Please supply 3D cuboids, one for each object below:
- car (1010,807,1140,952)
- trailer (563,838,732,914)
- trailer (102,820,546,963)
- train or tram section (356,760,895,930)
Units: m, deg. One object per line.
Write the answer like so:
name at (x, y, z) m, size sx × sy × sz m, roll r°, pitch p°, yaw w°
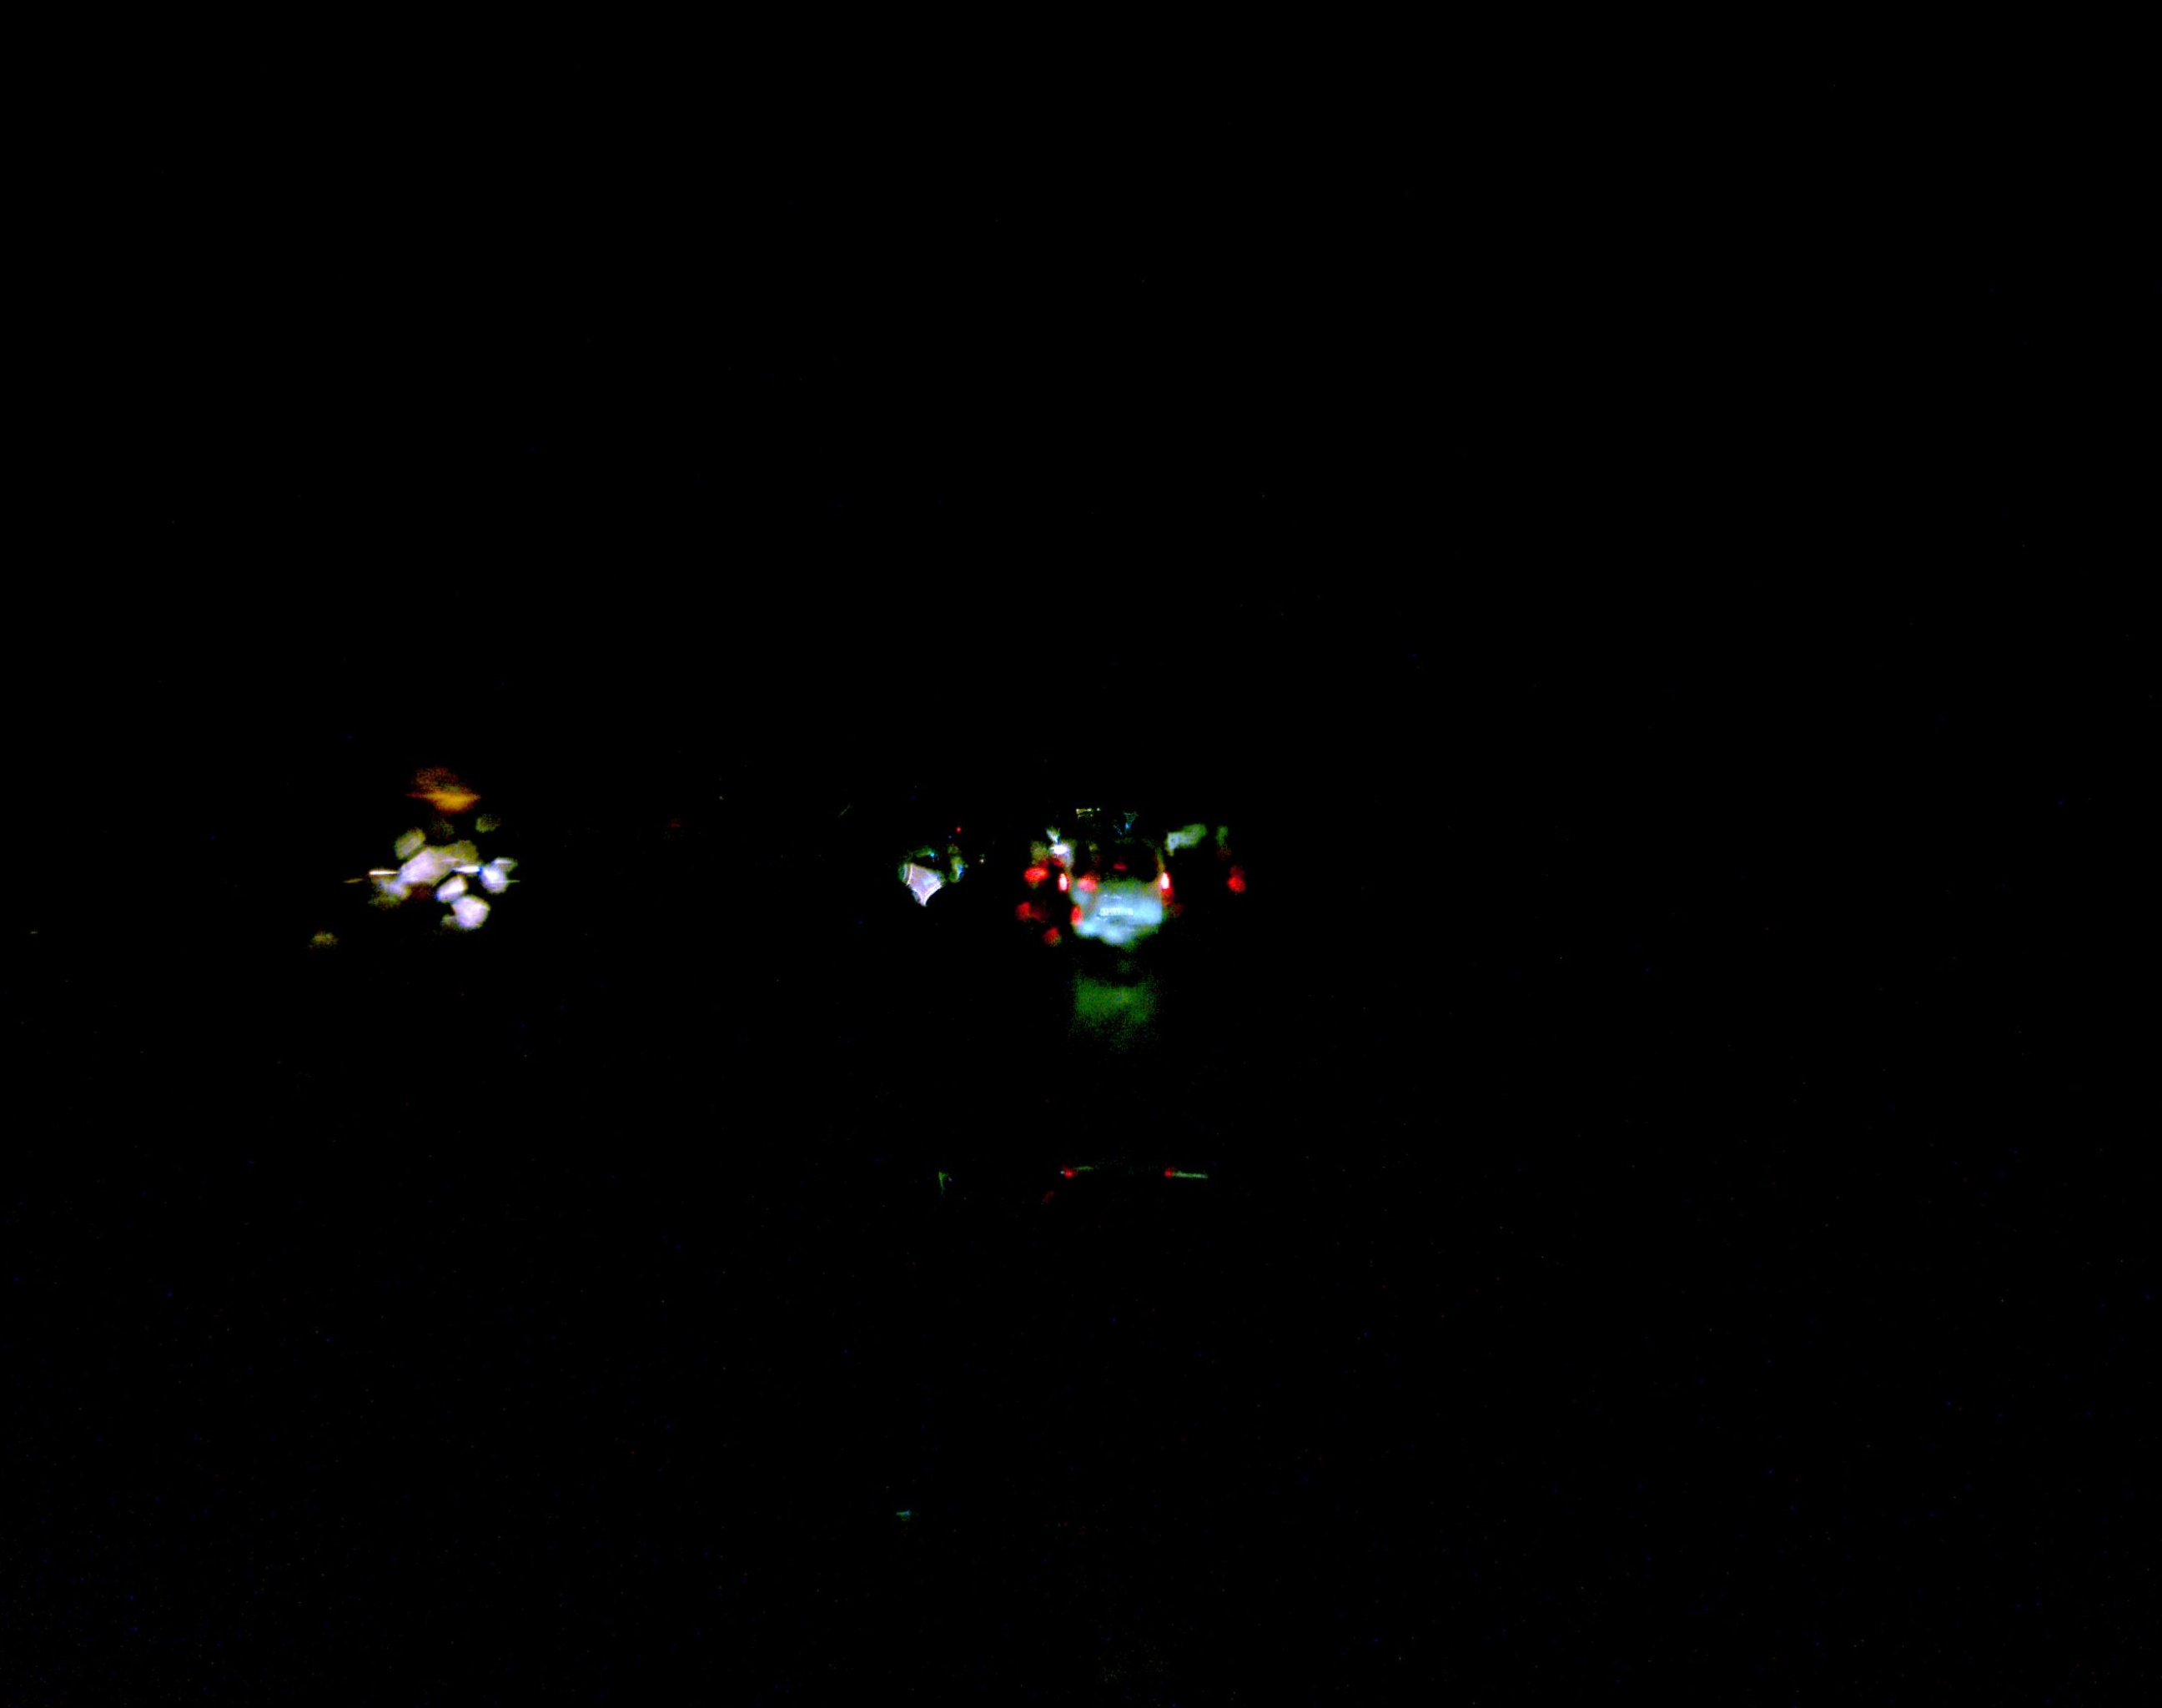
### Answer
car at (-0.192, 0.358, 14.384) m, size 1.787 × 2.021 × 4.575 m, roll -4°, pitch 1°, yaw -3°
trailer at (-29.540, 1.401, 56.890) m, size 3.957 × 4.610 × 14.250 m, roll 0°, pitch 0°, yaw 1°
trailer at (-29.731, 1.284, 34.269) m, size 3.957 × 4.610 × 15.518 m, roll 0°, pitch 0°, yaw 1°
train or tram section at (-14.533, -0.053, 36.963) m, size 2.686 × 3.815 × 37.156 m, roll 0°, pitch 0°, yaw 2°
